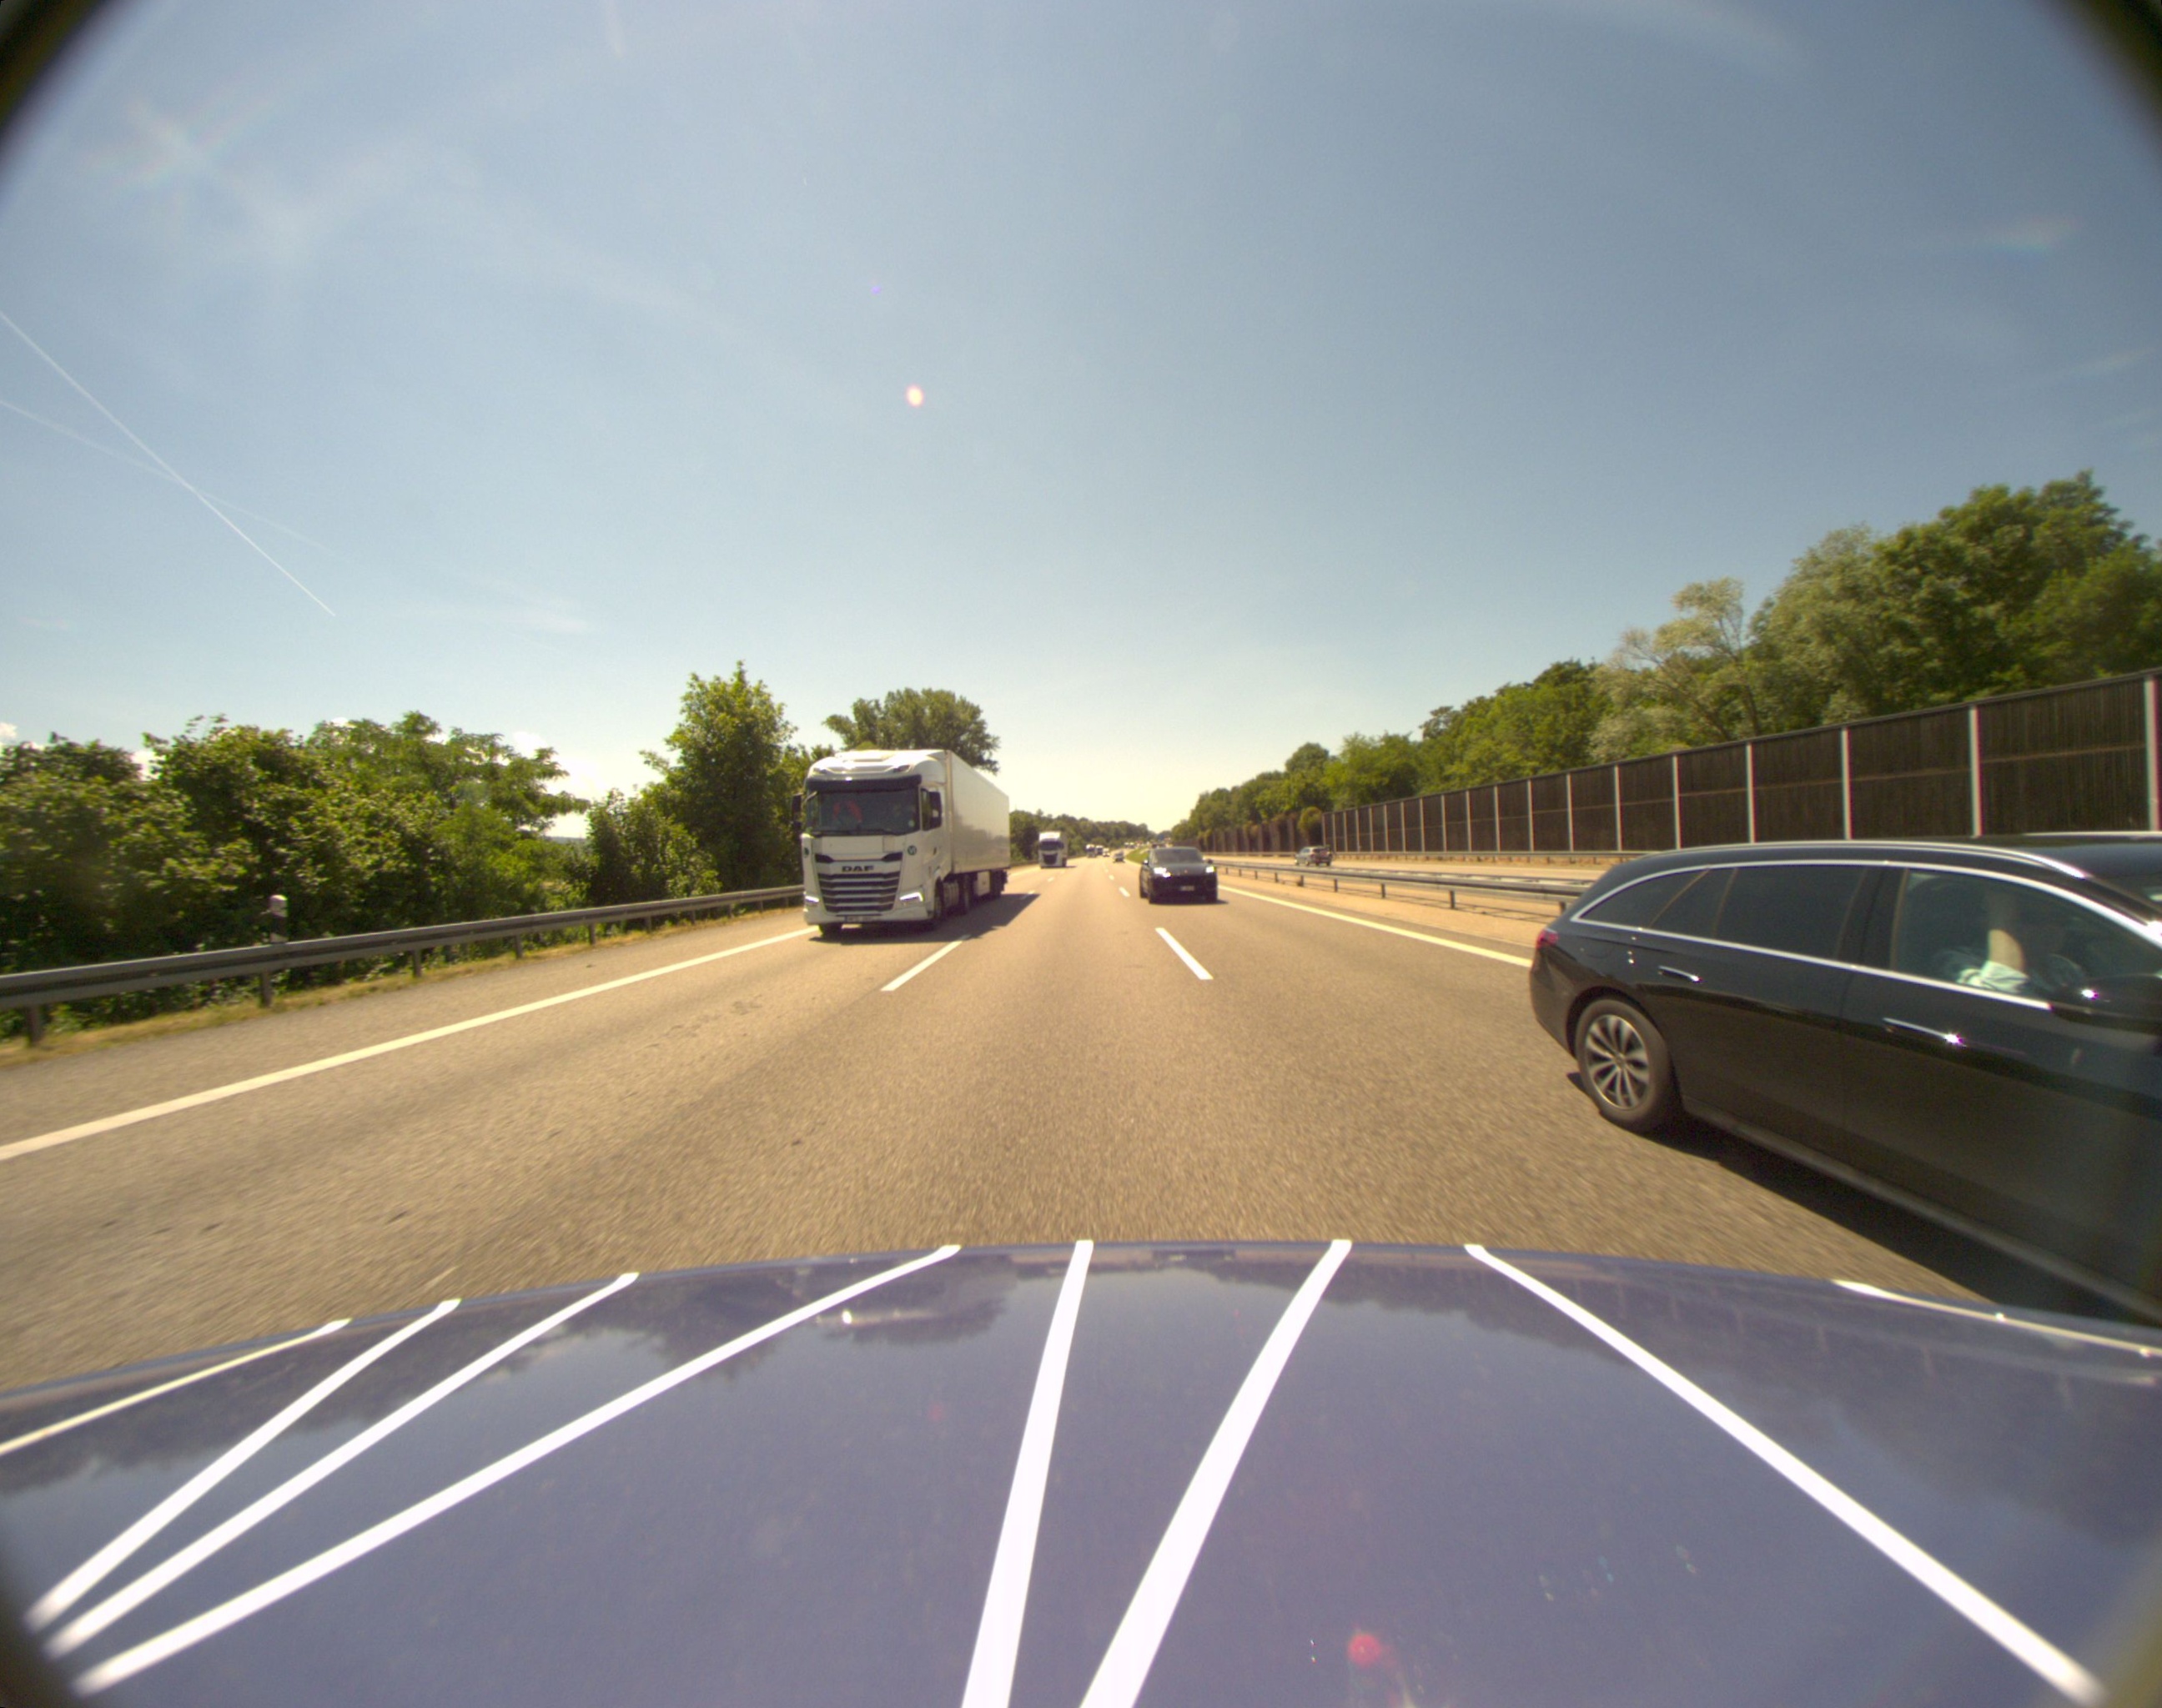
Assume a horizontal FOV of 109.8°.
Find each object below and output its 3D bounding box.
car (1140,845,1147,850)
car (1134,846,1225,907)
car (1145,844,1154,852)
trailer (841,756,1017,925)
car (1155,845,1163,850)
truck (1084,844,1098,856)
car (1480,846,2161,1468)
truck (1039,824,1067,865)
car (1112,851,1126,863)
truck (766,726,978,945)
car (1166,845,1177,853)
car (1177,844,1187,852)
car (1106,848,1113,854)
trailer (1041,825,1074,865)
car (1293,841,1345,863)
[{"bbox_3d":[21.883,-2.131,264.380,1.998,1.638,5.045,-2,0,1],"label":"car"},{"bbox_3d":[2.941,0.599,23.972,2.049,1.616,5.771,-2,1,0],"label":"car"},{"bbox_3d":[18.635,-1.638,206.390,1.998,2.002,5.346,-2,1,1],"label":"car"},{"bbox_3d":[-4.290,-0.379,25.139,2.966,4.082,12.531,-2,1,1],"label":"trailer"},{"bbox_3d":[26.701,-2.154,260.214,1.998,1.638,4.692,-2,0,1],"label":"car"},{"bbox_3d":[3.169,-1.328,237.376,3.073,3.618,12.404,-2,1,5],"label":"truck"},{"bbox_3d":[3.662,0.759,2.147,1.948,1.498,5.820,-2,1,0],"label":"car"},{"bbox_3d":[-3.161,-1.052,86.757,2.541,4.446,5.573,-2,1,4],"label":"truck"},{"bbox_3d":[5.776,0.396,115.113,1.908,1.717,4.377,-2,1,5],"label":"car"},{"bbox_3d":[-4.410,-0.367,17.617,2.966,4.082,6.206,-2,1,1],"label":"truck"},{"bbox_3d":[21.112,-1.221,177.685,1.998,1.634,5.586,-2,0,1],"label":"car"},{"bbox_3d":[25.975,-1.447,194.918,1.998,2.002,5.385,-2,1,2],"label":"car"},{"bbox_3d":[9.168,-0.956,242.318,1.908,1.717,4.871,-2,1,5],"label":"car"},{"bbox_3d":[-2.734,-1.142,93.286,2.541,4.446,14.162,-2,1,4],"label":"trailer"},{"bbox_3d":[17.864,-0.191,57.438,2.129,1.513,5.982,-2,1,1],"label":"car"}]
